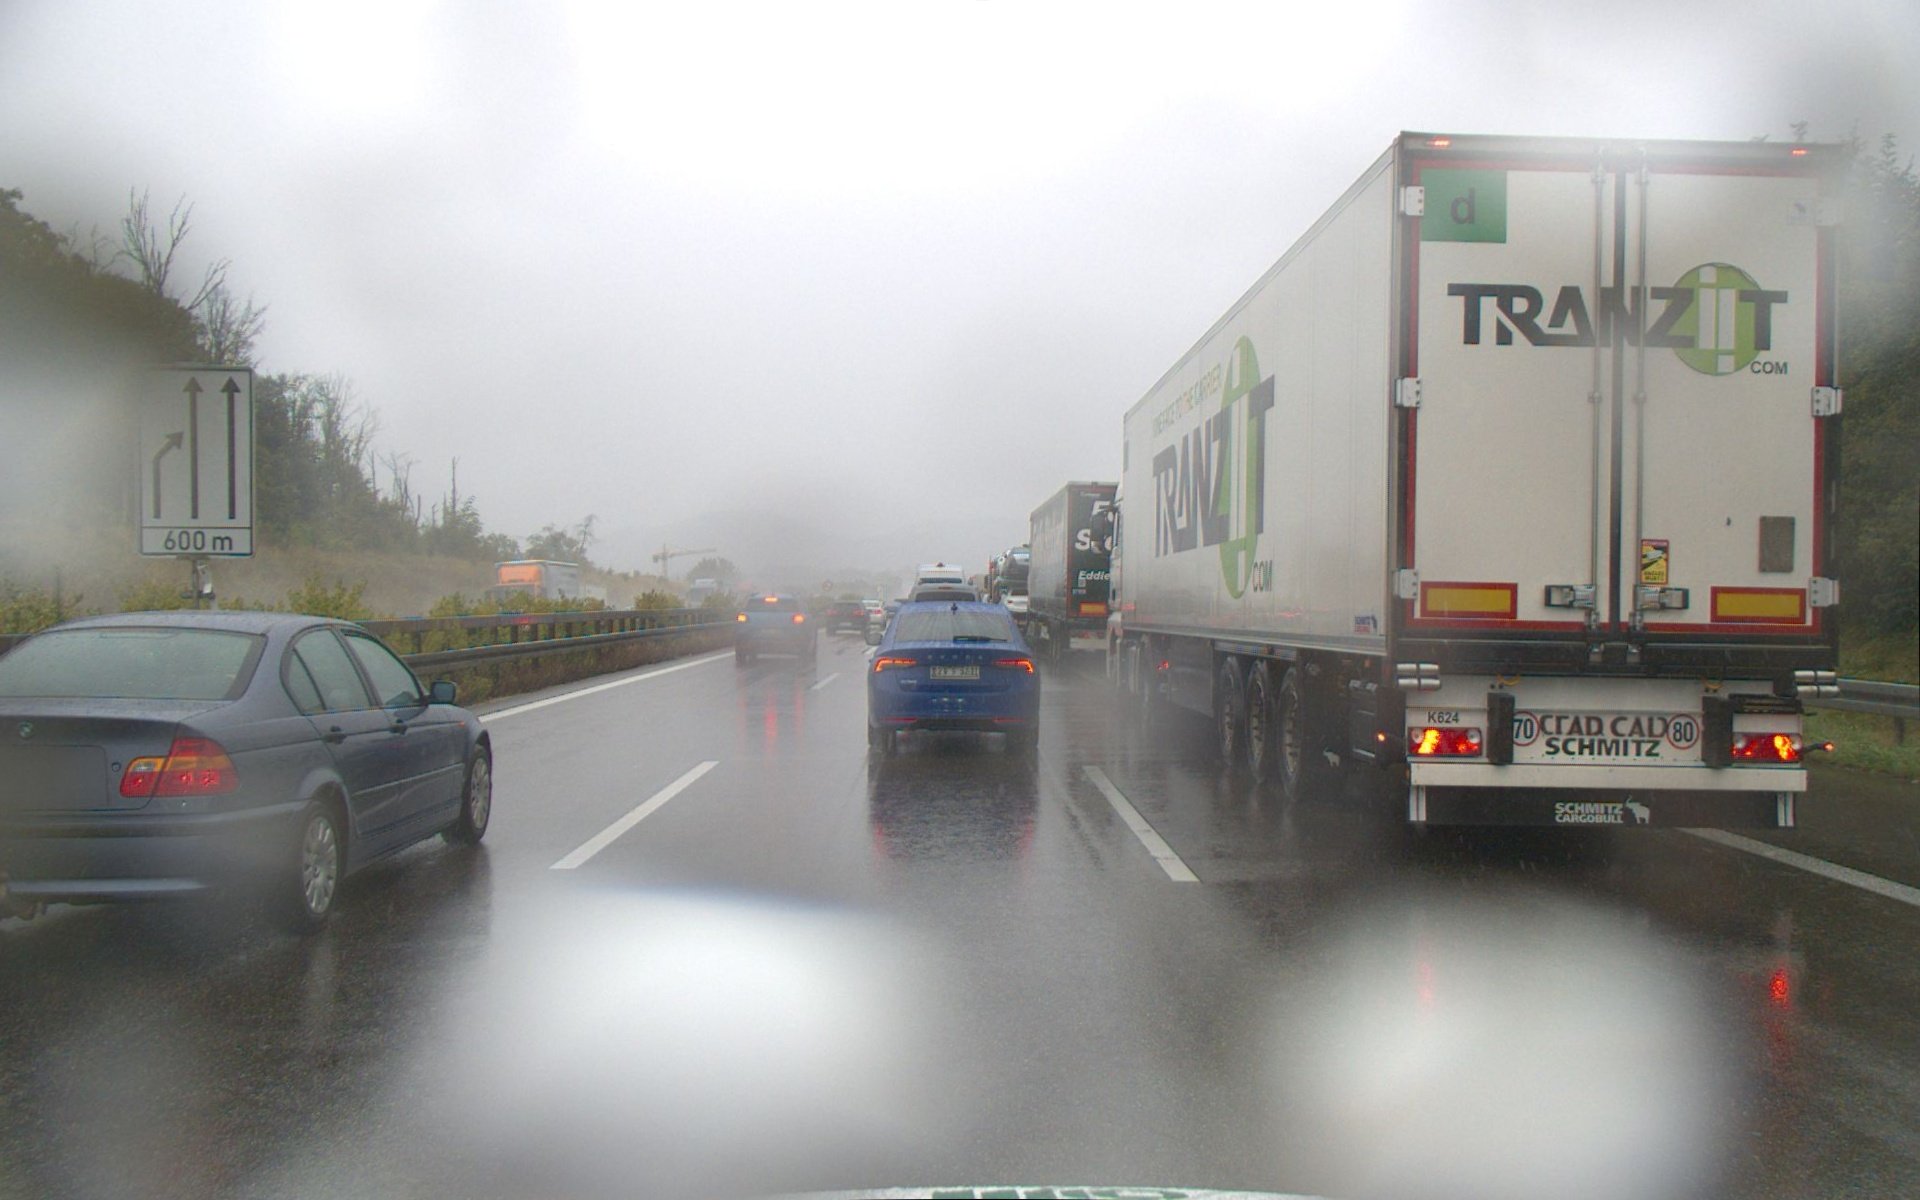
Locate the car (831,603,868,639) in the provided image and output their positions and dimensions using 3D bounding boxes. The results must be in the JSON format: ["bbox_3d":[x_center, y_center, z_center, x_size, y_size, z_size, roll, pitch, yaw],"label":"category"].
[{"bbox_3d":[-4.737,0.886,71.032,1.410,1.445,3.321,0,0,-1],"label":"car"}]

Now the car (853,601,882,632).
[{"bbox_3d":[-4.920,0.855,88.047,1.410,1.560,3.321,0,0,-1],"label":"car"}]

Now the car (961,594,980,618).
[{"bbox_3d":[0.802,0.456,128.851,1.419,1.815,3.409,1,0,-1],"label":"car"}]

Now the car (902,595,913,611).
[{"bbox_3d":[-5.893,0.339,186.800,1.168,1.780,3.075,0,1,-1],"label":"car"}]

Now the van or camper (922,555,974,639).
[{"bbox_3d":[-0.426,-0.123,58.621,1.761,2.855,4.767,0,0,-1],"label":"van or camper"}]

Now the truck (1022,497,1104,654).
[{"bbox_3d":[2.873,-0.677,46.795,2.005,4.266,3.999,0,0,-1],"label":"truck"}]

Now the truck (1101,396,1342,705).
[{"bbox_3d":[3.508,-0.640,23.251,2.577,3.894,4.790,0,0,-1],"label":"truck"}]

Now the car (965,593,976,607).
[{"bbox_3d":[1.343,-0.030,220.867,1.419,1.815,3.409,1,0,-1],"label":"car"}]

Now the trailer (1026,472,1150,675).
[{"bbox_3d":[2.924,-0.604,40.420,2.005,4.249,11.446,0,0,-1],"label":"trailer"}]

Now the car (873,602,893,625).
[{"bbox_3d":[-6.078,1.060,130.984,1.419,1.815,3.409,1,0,-1],"label":"car"}]

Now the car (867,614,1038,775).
[{"bbox_3d":[-0.068,0.905,17.558,1.602,1.470,4.000,0,0,0],"label":"car"}]

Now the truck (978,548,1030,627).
[{"bbox_3d":[2.009,-0.601,77.446,1.953,3.481,8.029,0,1,-2],"label":"truck"}]

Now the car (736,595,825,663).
[{"bbox_3d":[-4.275,0.667,39.856,1.686,1.550,4.000,0,0,0],"label":"car"}]

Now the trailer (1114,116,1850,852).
[{"bbox_3d":[3.588,-0.693,16.510,2.577,4.083,14.627,0,0,-1],"label":"trailer"}]

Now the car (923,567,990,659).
[{"bbox_3d":[-0.091,0.245,34.077,1.309,1.811,3.321,0,0,-1],"label":"car"}]

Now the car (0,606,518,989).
[{"bbox_3d":[-3.626,0.754,8.376,1.683,1.424,4.229,0,0,-1],"label":"car"}]

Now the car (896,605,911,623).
[{"bbox_3d":[-5.630,1.383,166.252,1.419,1.815,3.409,1,0,-1],"label":"car"}]

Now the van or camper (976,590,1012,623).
[{"bbox_3d":[1.778,0.308,87.233,1.736,1.653,4.483,0,1,-1],"label":"van or camper"}]

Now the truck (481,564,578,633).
[{"bbox_3d":[-22.142,-0.132,85.519,2.866,3.339,9.252,0,1,-2],"label":"truck"}]
